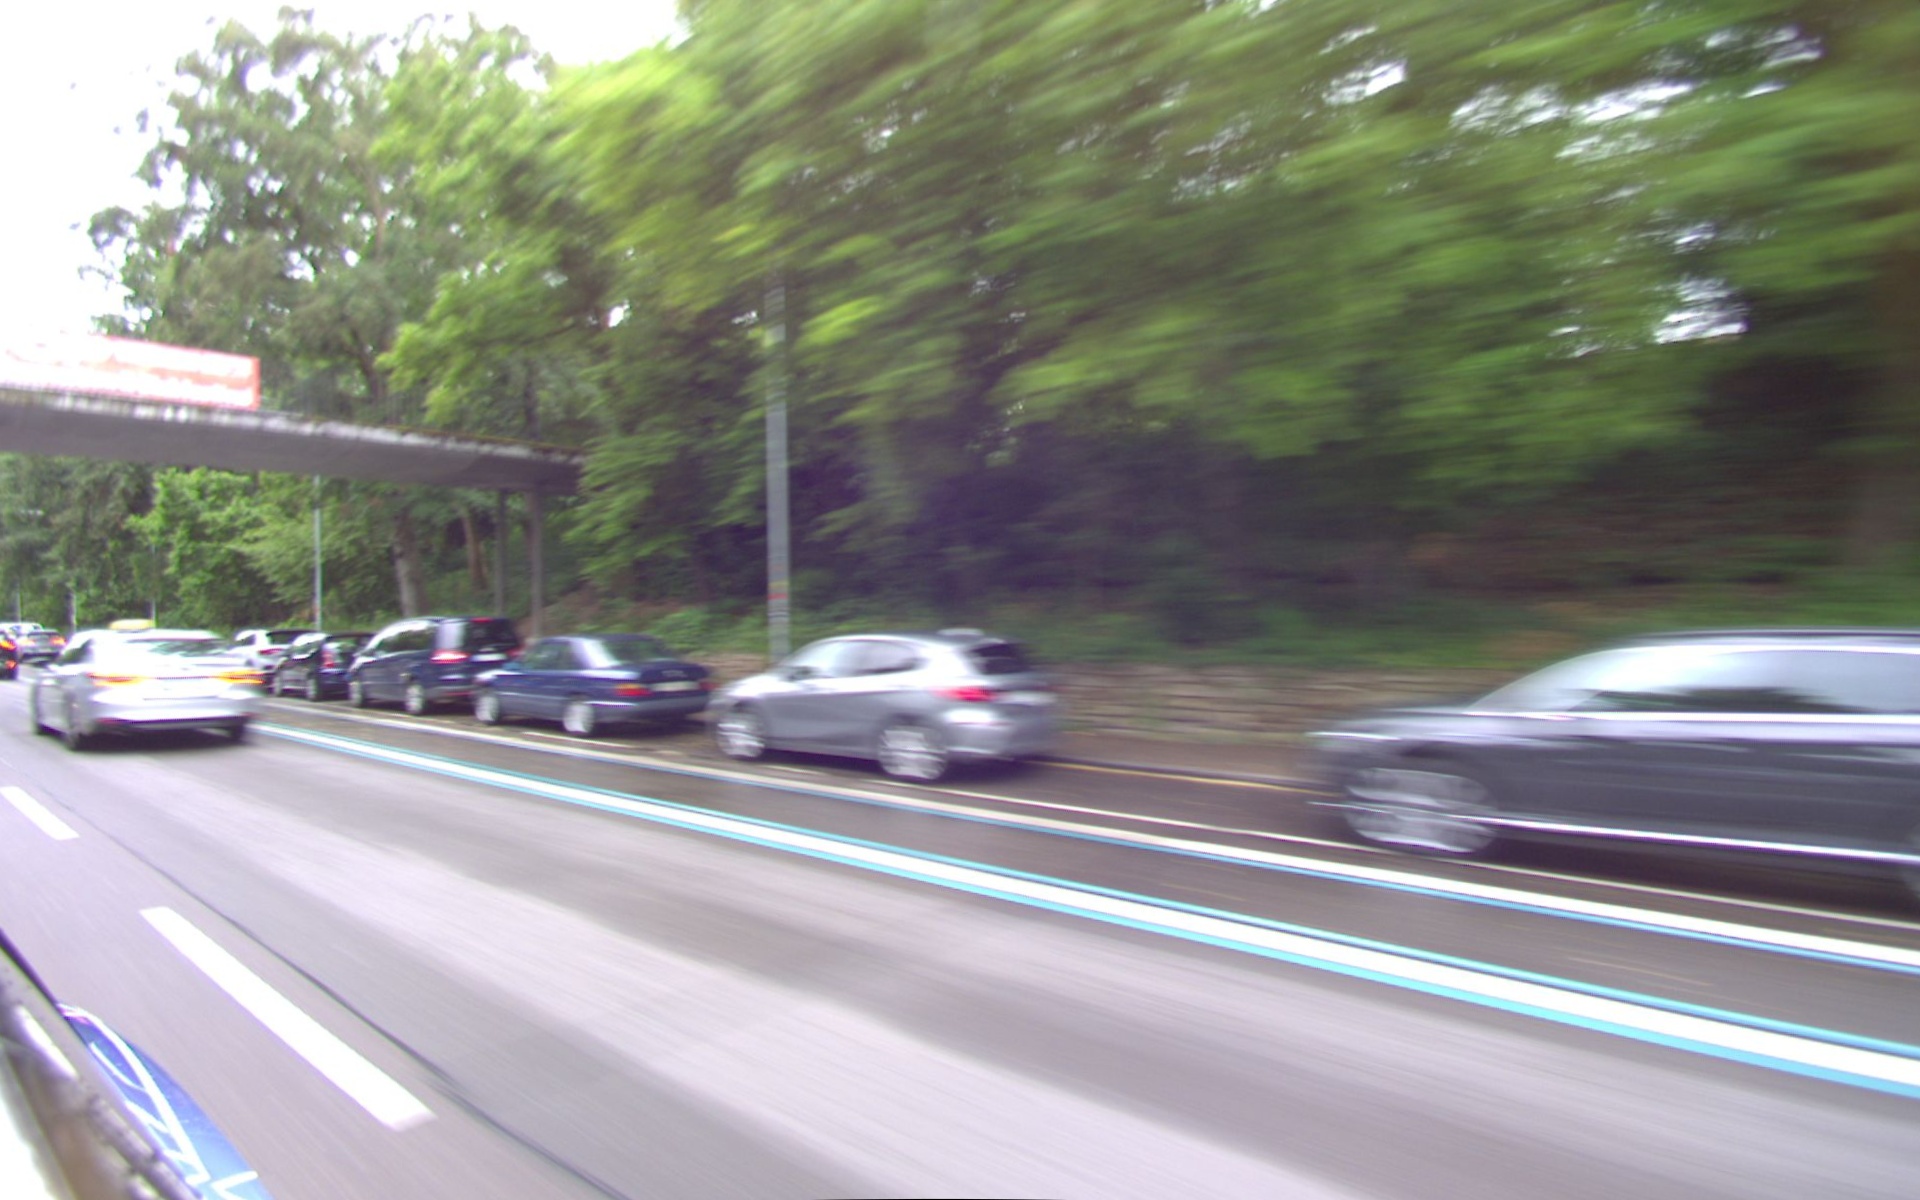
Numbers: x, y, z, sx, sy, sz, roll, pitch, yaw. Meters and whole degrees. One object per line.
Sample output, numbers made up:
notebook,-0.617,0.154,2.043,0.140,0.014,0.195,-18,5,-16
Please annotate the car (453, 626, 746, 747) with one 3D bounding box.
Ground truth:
car,-5.553,1.204,15.255,4.893,1.484,1.964,-2,-1,40

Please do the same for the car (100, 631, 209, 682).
car,-25.509,1.760,32.011,4.034,1.488,1.814,-2,-2,38

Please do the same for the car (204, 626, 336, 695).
car,-17.342,1.483,25.356,4.229,1.558,1.671,-2,-2,40

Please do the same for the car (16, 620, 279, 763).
car,-10.808,1.070,13.333,4.618,1.572,1.901,-1,-2,41

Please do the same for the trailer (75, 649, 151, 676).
trailer,-30.591,2.231,36.519,3.302,0.825,1.527,-2,-1,39

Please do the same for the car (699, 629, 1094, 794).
car,-0.844,1.070,11.013,4.293,1.434,1.765,-2,-2,41

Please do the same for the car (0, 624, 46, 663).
car,-52.649,2.408,56.108,5.009,2.020,1.956,-2,-1,37

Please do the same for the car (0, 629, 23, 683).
car,-31.028,1.742,31.641,4.316,1.640,1.946,-2,-2,39

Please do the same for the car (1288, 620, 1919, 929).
car,4.653,0.870,6.060,4.750,1.474,1.937,-2,-2,38

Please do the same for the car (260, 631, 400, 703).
car,-14.004,1.444,22.435,3.841,1.450,1.593,-2,-2,41

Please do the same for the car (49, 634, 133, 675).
car,-33.470,2.072,38.956,3.978,1.493,1.771,-2,-2,39

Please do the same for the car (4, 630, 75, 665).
car,-45.659,2.334,50.156,4.775,1.618,1.990,-2,-2,40

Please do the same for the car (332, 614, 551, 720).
car,-9.849,1.193,19.053,4.834,1.755,1.970,-2,-2,40
